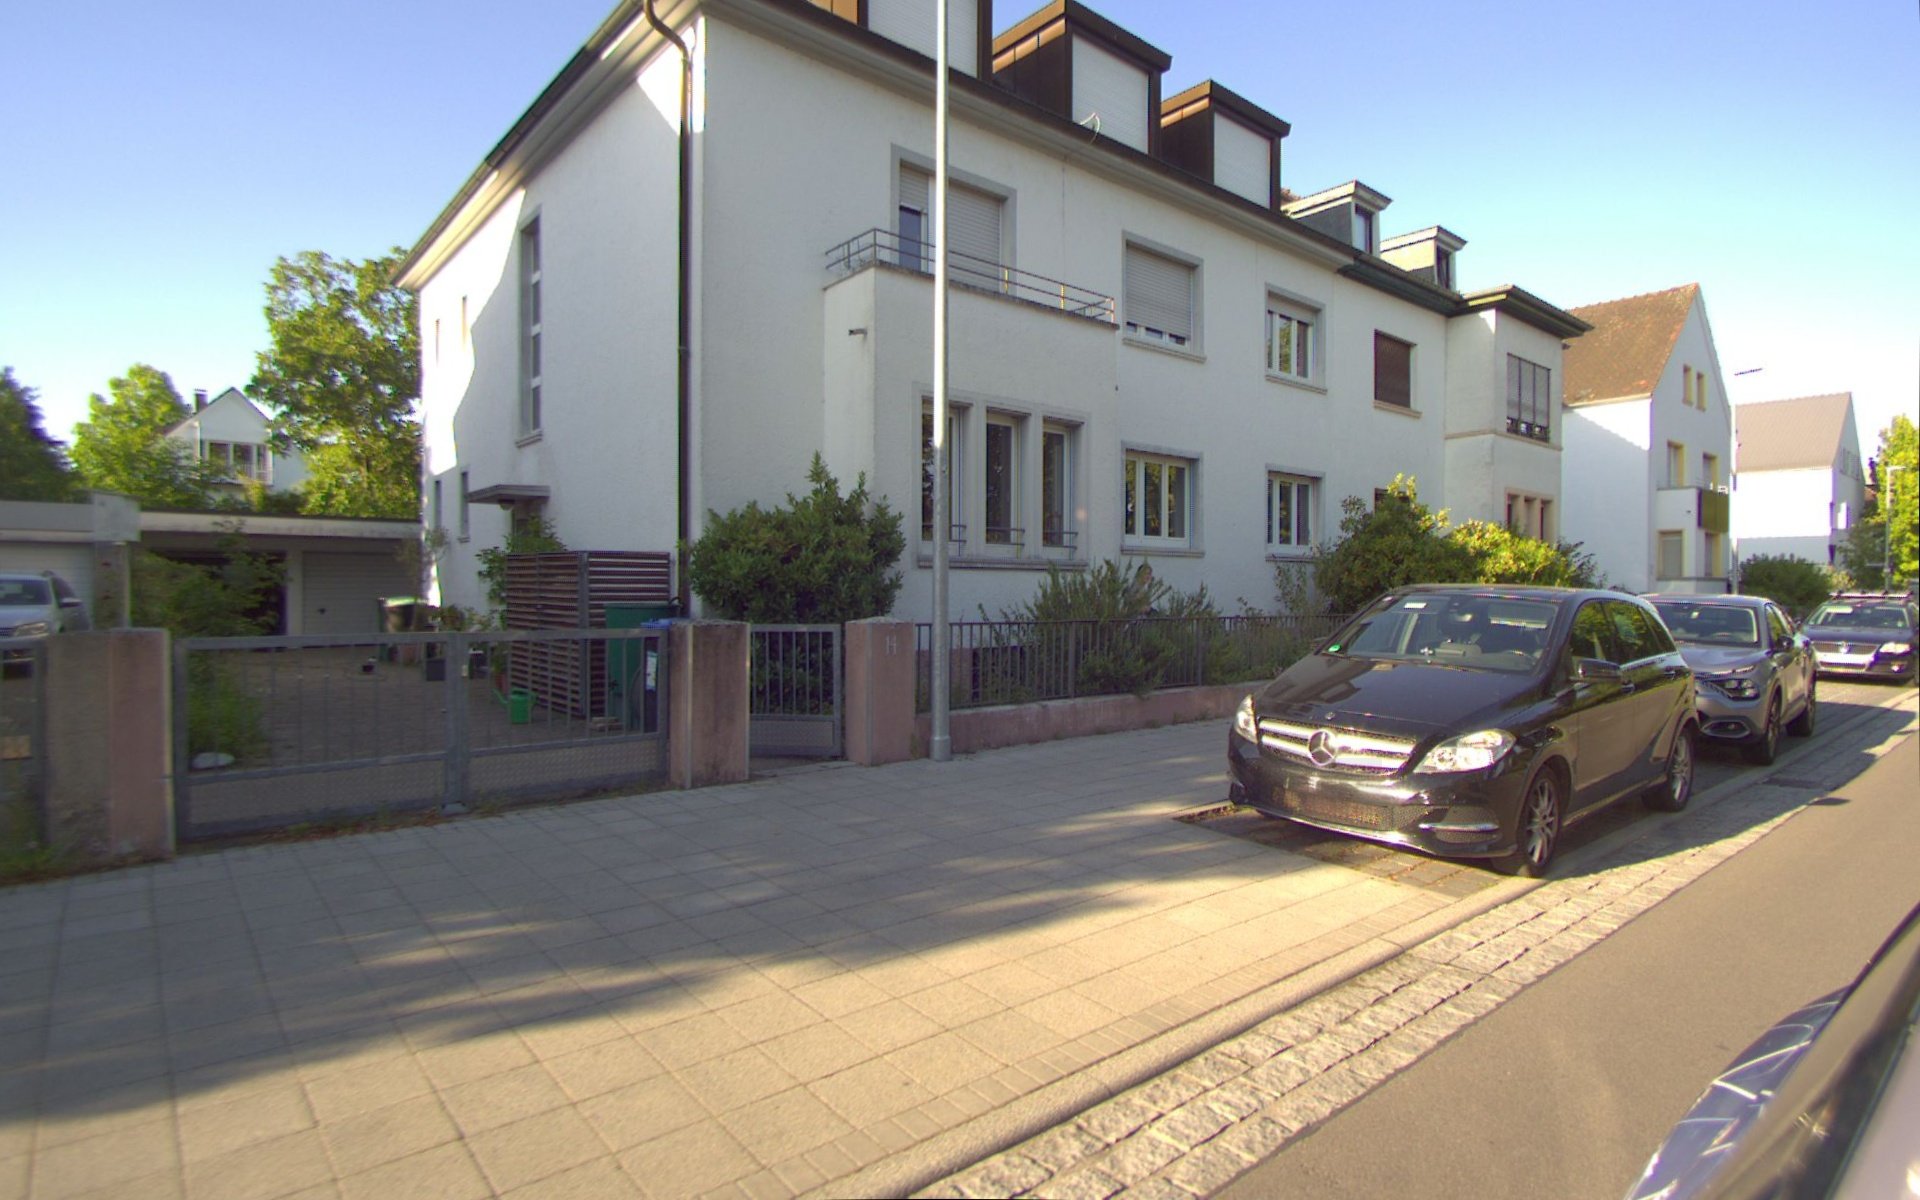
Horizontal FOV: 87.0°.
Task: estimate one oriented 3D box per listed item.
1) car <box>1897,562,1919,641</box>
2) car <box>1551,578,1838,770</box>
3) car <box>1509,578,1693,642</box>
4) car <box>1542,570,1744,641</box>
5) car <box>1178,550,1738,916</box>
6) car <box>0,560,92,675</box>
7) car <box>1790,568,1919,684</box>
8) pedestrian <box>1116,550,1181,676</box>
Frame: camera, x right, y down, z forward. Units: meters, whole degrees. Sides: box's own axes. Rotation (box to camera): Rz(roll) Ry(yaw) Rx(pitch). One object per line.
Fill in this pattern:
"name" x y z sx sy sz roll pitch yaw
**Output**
"car" 28.507 0.048 28.889 4.728 2.158 1.910 0 2 -40
"car" 7.869 0.589 10.686 4.141 1.593 1.720 -1 3 -44
"car" 18.648 0.291 29.580 1.822 1.748 4.220 -1 0 -43
"car" 18.272 0.088 27.204 1.822 1.747 4.221 -1 2 -43
"car" 3.600 0.570 6.937 4.338 1.705 1.837 -1 4 -41
"car" -14.320 0.211 14.949 1.838 1.527 4.160 -1 1 -35
"car" 16.434 0.387 18.001 4.394 1.793 1.798 0 2 -41
"pedestrian" 2.469 0.165 13.287 0.617 1.598 0.598 -1 -1 -14
